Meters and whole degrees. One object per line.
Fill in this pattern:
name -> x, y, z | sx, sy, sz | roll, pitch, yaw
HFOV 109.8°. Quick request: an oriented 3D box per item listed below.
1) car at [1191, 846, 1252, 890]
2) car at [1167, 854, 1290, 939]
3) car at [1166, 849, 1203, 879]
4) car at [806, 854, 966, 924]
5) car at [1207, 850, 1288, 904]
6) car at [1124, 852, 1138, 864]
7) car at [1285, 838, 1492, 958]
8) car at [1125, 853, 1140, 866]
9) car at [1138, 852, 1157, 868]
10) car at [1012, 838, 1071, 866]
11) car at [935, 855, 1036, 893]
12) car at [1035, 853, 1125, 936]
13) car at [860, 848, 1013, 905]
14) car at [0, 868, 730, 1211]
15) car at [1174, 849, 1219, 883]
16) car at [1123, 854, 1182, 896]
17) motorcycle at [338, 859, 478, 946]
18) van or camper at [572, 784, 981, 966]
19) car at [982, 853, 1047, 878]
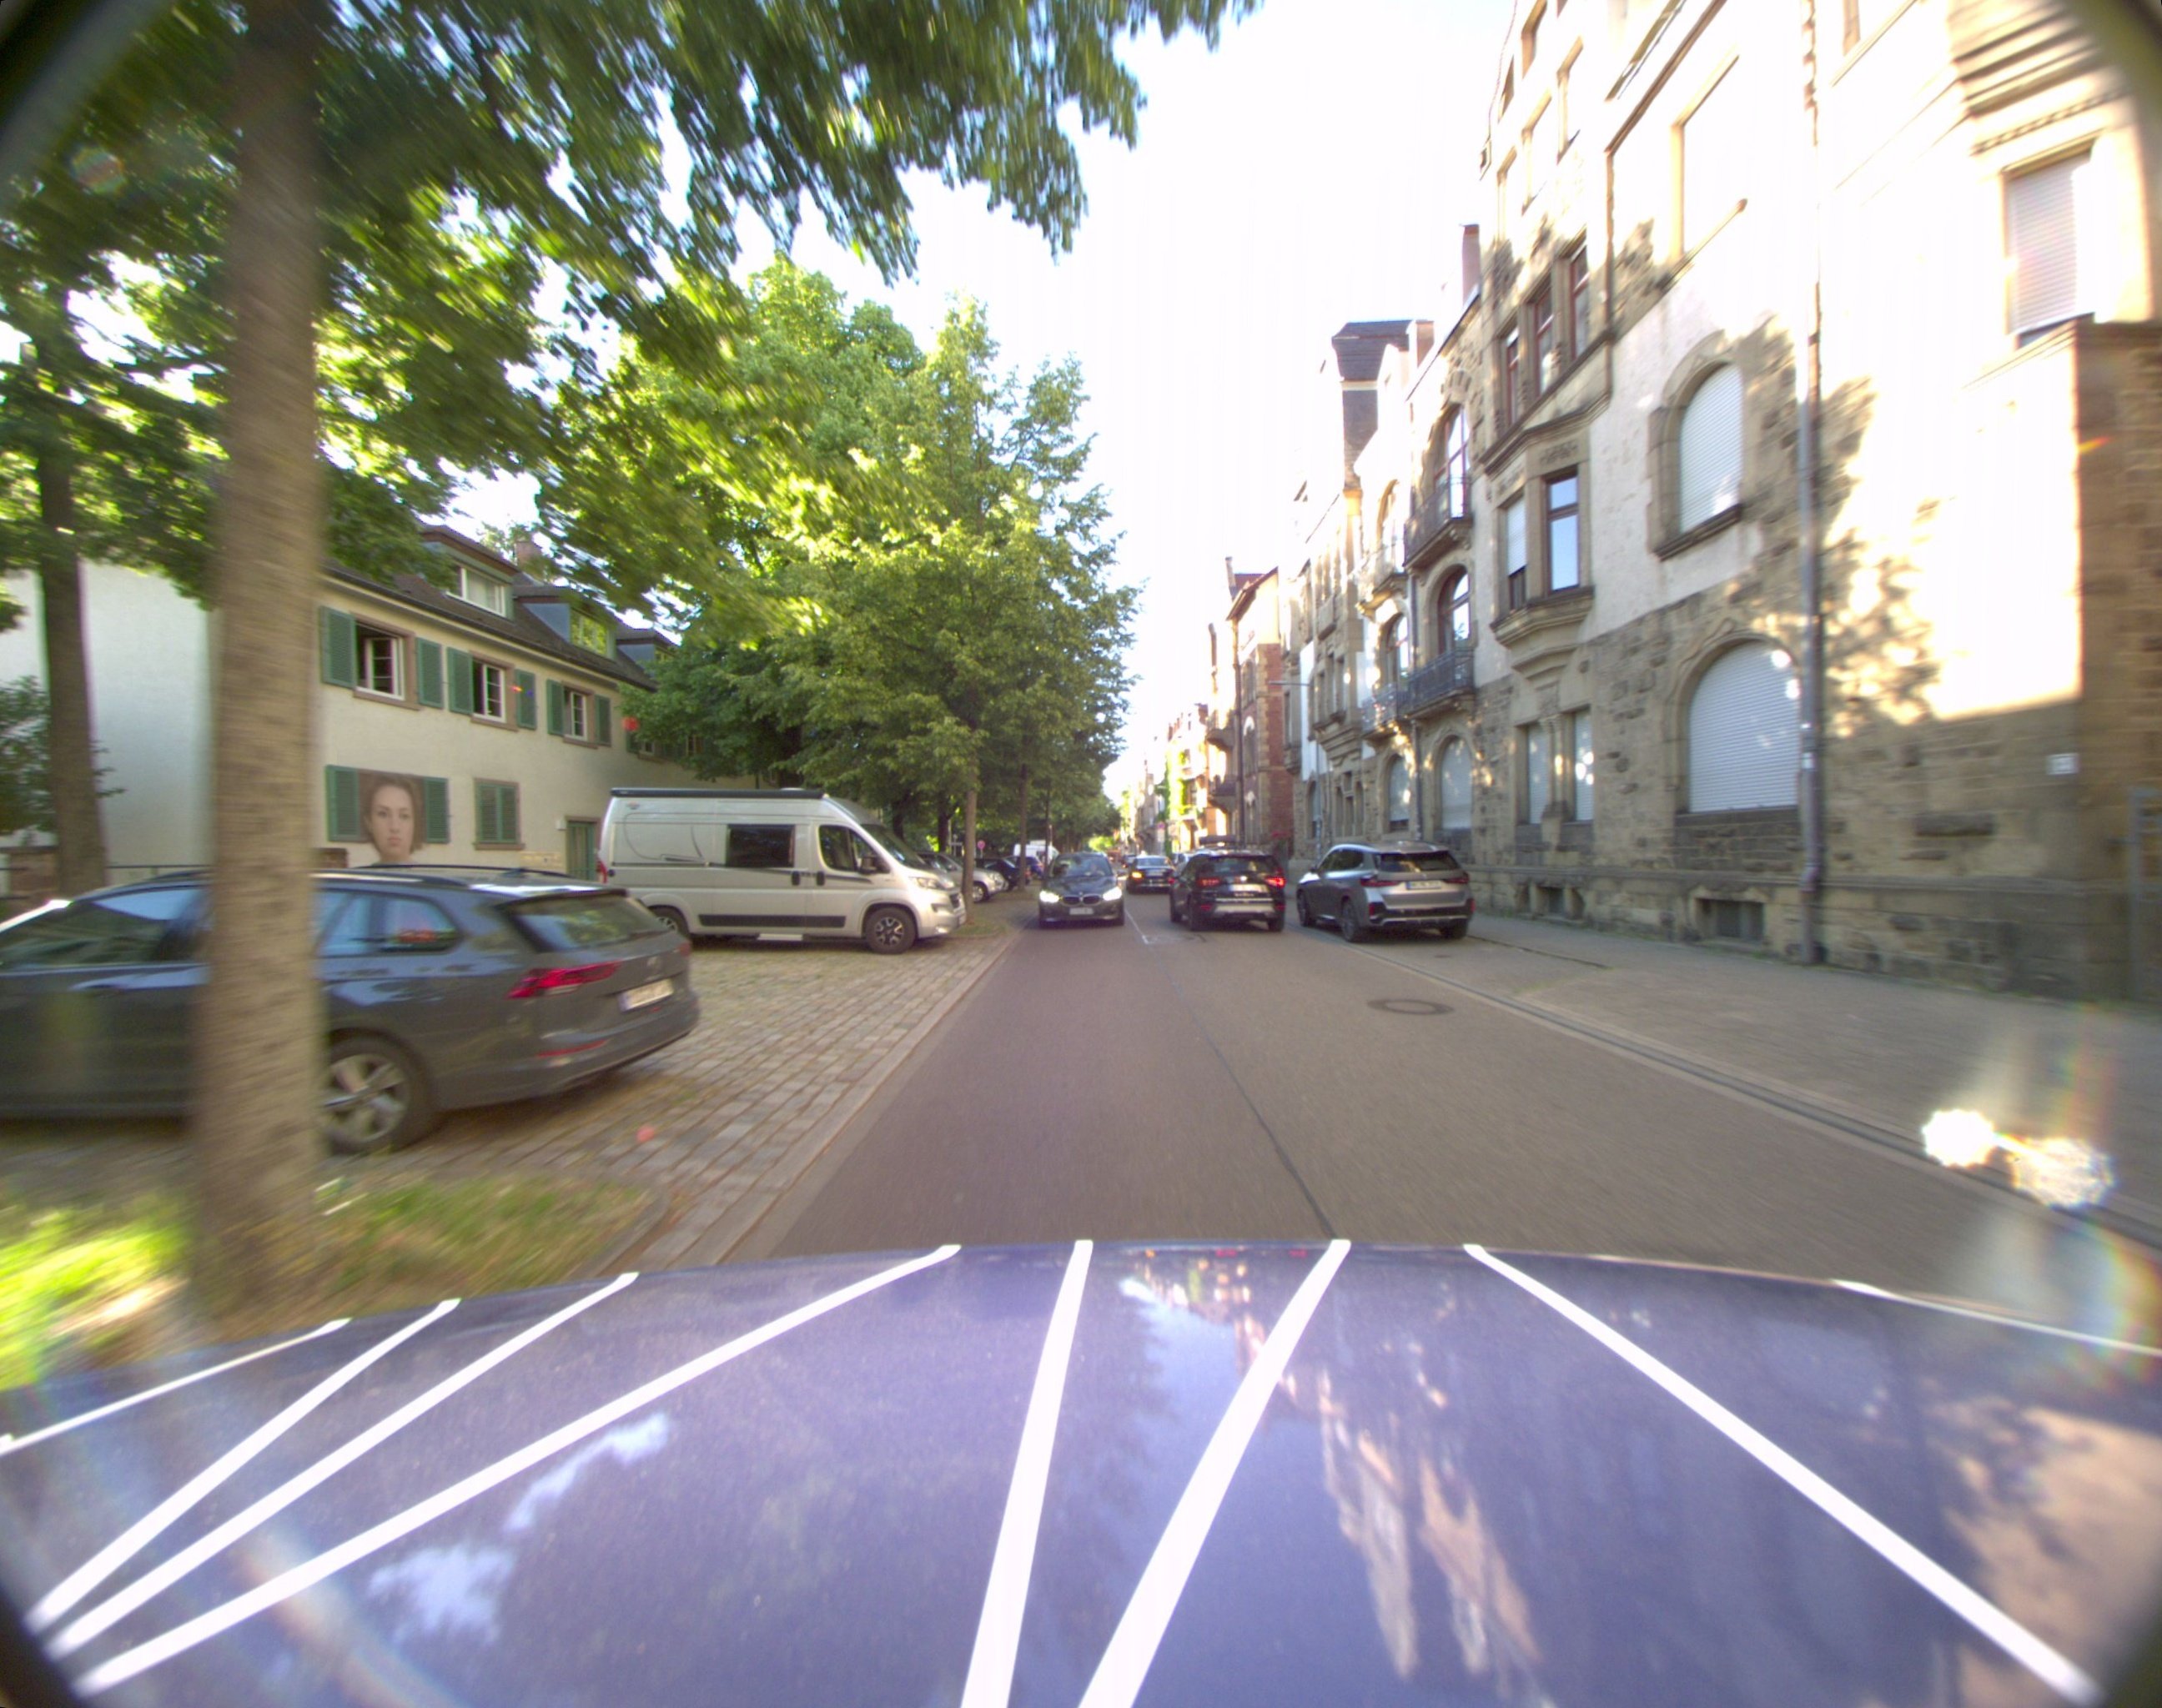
car -> 5.815, 0.540, 31.958 | 1.774, 1.658, 4.212 | -2, 1, 1
car -> 2.783, 0.744, 15.104 | 1.631, 1.469, 3.759 | 0, 0, -1
car -> 5.811, 0.594, 43.015 | 1.633, 1.496, 3.856 | -5, -1, 2
car -> -4.560, 0.786, 18.088 | 3.260, 1.454, 1.825 | 2, 1, 2
car -> 5.399, 0.692, 25.149 | 1.774, 1.493, 4.211 | -1, 2, 0
car -> 7.009, 0.582, 107.469 | 1.710, 1.496, 3.629 | -5, -1, 2
car -> 5.106, 0.645, 13.345 | 1.881, 1.707, 4.339 | -2, 0, 1
car -> 6.712, 0.733, 99.307 | 1.710, 1.496, 3.629 | -5, -1, 2
car -> 6.755, 0.649, 77.399 | 1.686, 1.496, 3.629 | -5, -1, 2
car -> -3.763, -0.203, 73.054 | 5.448, 2.646, 2.134 | 0, 0, 1
car -> -3.975, 0.833, 31.999 | 3.997, 1.543, 1.555 | 0, 0, 1
car -> 0.040, 0.820, 17.437 | 1.753, 1.596, 4.550 | -2, 0, 1
car -> -4.594, 0.711, 24.746 | 4.606, 1.706, 2.000 | 1, 0, -1
car -> -4.788, 0.901, 4.547 | 4.486, 1.427, 1.828 | 2, 1, 1
car -> 5.601, 0.590, 37.293 | 1.633, 1.439, 3.856 | -5, -1, 2
car -> 2.735, 0.759, 30.105 | 1.868, 1.454, 4.567 | 1, 1, 0
motorcycle -> -12.182, 0.835, 13.862 | 0.660, 1.398, 2.016 | -2, 1, 1
van or camper -> -4.686, 0.310, 12.408 | 5.733, 2.502, 2.162 | 2, 1, 0
car -> -4.113, 0.679, 47.323 | 3.998, 1.504, 1.572 | 0, 0, -3
